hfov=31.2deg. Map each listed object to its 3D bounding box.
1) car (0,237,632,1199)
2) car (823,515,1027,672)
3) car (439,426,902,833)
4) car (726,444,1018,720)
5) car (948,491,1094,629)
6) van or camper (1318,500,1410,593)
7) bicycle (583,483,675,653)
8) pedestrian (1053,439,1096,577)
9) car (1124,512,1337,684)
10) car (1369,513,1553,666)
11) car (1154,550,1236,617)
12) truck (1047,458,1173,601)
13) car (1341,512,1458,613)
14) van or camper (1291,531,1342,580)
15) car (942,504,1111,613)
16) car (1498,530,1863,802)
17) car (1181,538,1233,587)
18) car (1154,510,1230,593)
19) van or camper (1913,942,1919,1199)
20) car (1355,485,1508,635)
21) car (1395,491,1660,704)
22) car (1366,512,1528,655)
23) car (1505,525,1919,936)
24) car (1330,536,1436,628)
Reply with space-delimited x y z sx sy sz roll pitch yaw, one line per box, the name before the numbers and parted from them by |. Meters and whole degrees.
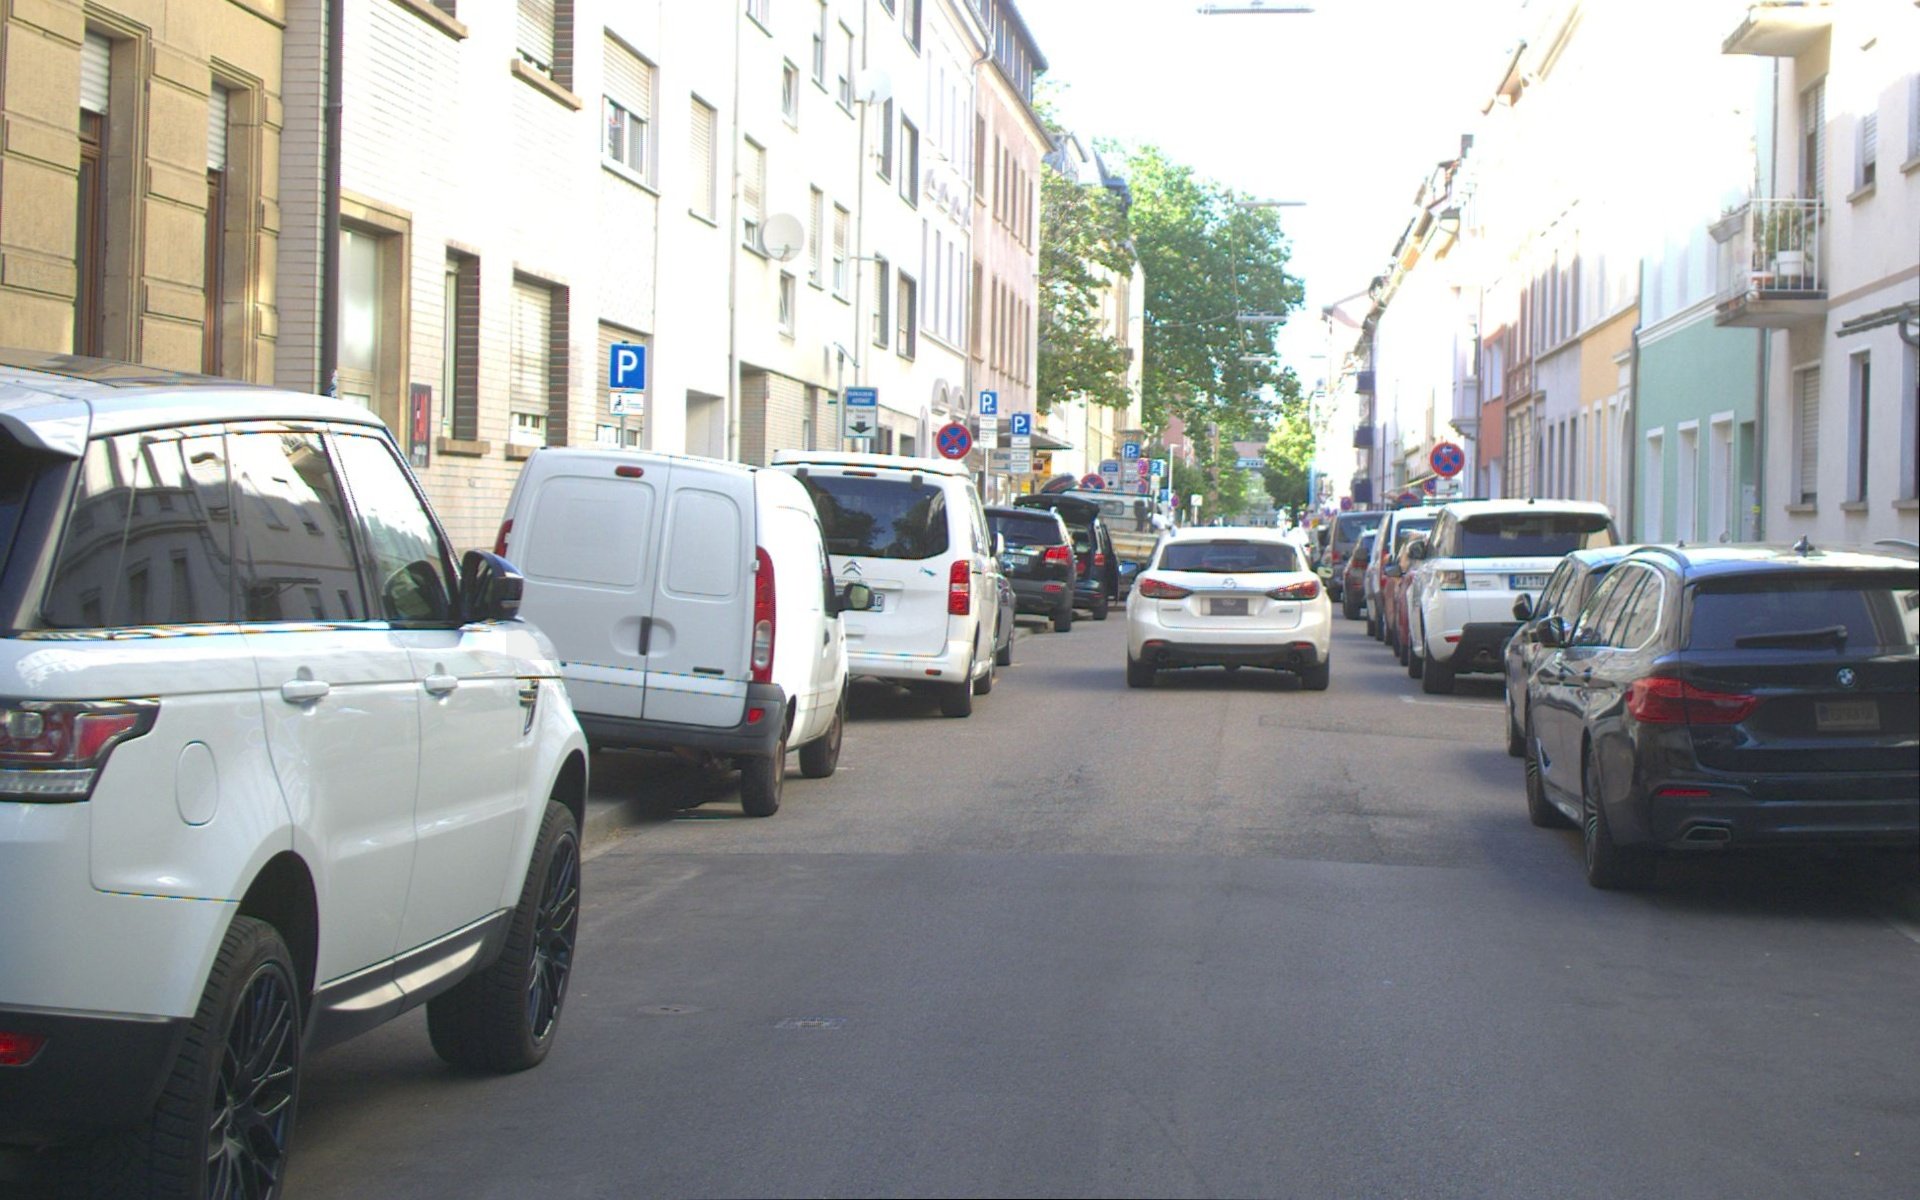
car | -2.207 0.337 8.060 2.022 2.007 4.542 1 1 5
car | -0.297 -0.105 35.115 1.707 1.445 4.301 2 1 4
car | -1.475 0.081 19.058 1.745 1.869 4.089 5 2 5
car | -0.619 -0.209 27.978 1.894 1.951 4.781 3 2 3
car | 0.901 -0.616 49.345 1.879 1.749 4.543 4 2 2
van or camper | 9.127 -1.207 77.983 1.775 2.029 4.570 0 1 3
bicycle | -3.056 -0.310 31.843 0.557 1.504 1.800 3 1 2
pedestrian | 1.857 -1.488 55.813 0.619 2.221 0.688 1 0 5
car | 2.562 -0.041 31.876 1.834 1.481 4.056 0 1 6
car | 5.512 -0.163 38.203 1.742 1.563 4.032 1 2 5
car | 5.238 -0.396 76.741 1.758 1.411 4.000 -1 1 4
truck | 2.818 -1.283 65.849 2.157 2.581 6.249 1 0 1
car | 7.350 -0.656 57.769 1.739 1.571 4.377 1 2 5
van or camper | 14.574 -1.795 140.612 1.994 1.919 3.999 1 0 5
car | 1.191 -0.731 58.447 2.442 1.700 5.241 2 1 5
car | 4.487 0.342 21.923 1.747 1.443 3.869 3 2 5
car | 8.456 -1.309 117.649 1.625 1.591 3.579 2 1 5
car | 5.442 -1.155 80.943 1.647 1.861 4.000 1 1 3
van or camper | 2.842 0.508 4.726 1.894 2.006 5.031 1 2 3
car | 6.500 -0.562 47.740 1.782 1.955 4.335 1 1 4
car | 5.159 -0.099 31.842 2.006 1.777 4.938 1 2 5
car | 6.043 -0.242 42.957 1.580 1.626 3.682 3 1 3
car | 3.656 0.478 15.941 1.815 1.514 4.727 3 2 5
car | 7.792 -0.360 63.569 1.742 1.563 4.032 1 2 5
